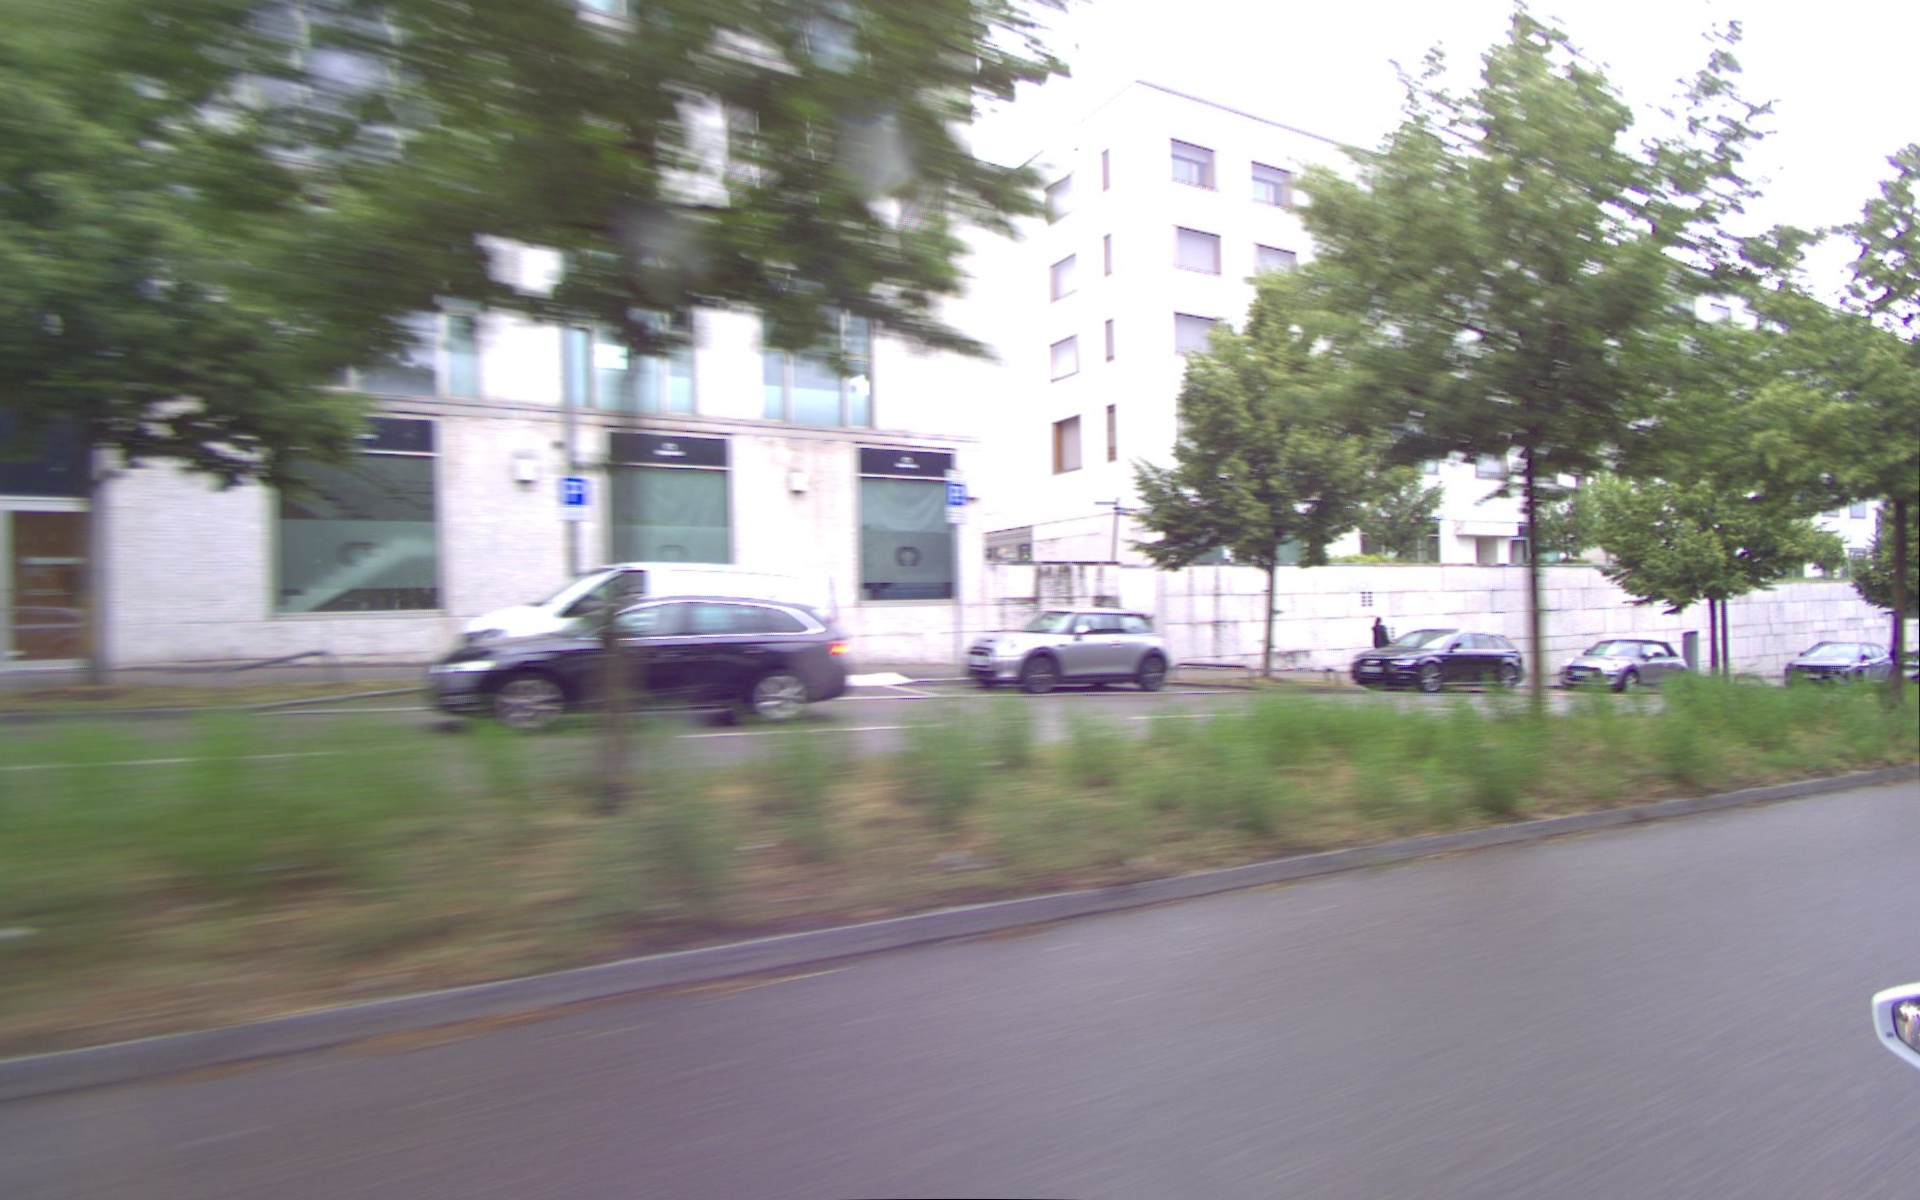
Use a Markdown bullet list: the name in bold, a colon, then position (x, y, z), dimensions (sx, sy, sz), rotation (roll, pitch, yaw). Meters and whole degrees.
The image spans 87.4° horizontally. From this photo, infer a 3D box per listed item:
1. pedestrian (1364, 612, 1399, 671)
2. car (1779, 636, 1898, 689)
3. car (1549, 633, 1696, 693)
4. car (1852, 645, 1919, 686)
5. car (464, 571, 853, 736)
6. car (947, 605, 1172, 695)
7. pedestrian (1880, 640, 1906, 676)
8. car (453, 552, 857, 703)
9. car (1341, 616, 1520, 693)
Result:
- **pedestrian**: position (12.903, 1.258, 30.738), dimensions (0.683, 1.798, 0.715), rotation (1, -1, -30)
- **car**: position (29.505, 2.108, 33.697), dimensions (4.310, 1.641, 1.695), rotation (3, -2, -30)
- **car**: position (17.872, 1.677, 27.084), dimensions (3.811, 1.463, 1.688), rotation (2, 0, -28)
- **car**: position (34.483, 2.387, 36.605), dimensions (4.112, 1.378, 1.688), rotation (2, -2, -29)
- **car**: position (-3.400, 0.555, 11.482), dimensions (3.970, 1.602, 1.687), rotation (2, 0, -30)
- **car**: position (1.778, 0.848, 17.672), dimensions (3.656, 1.403, 1.686), rotation (2, 0, -31)
- **pedestrian**: position (46.468, 2.892, 50.020), dimensions (1.009, 1.798, 0.704), rotation (2, -2, -30)
- **car**: position (-4.297, 0.391, 14.443), dimensions (5.200, 1.840, 2.111), rotation (1, -1, -31)
- **car**: position (10.731, 1.227, 22.866), dimensions (3.969, 1.602, 1.687), rotation (2, -1, -29)
